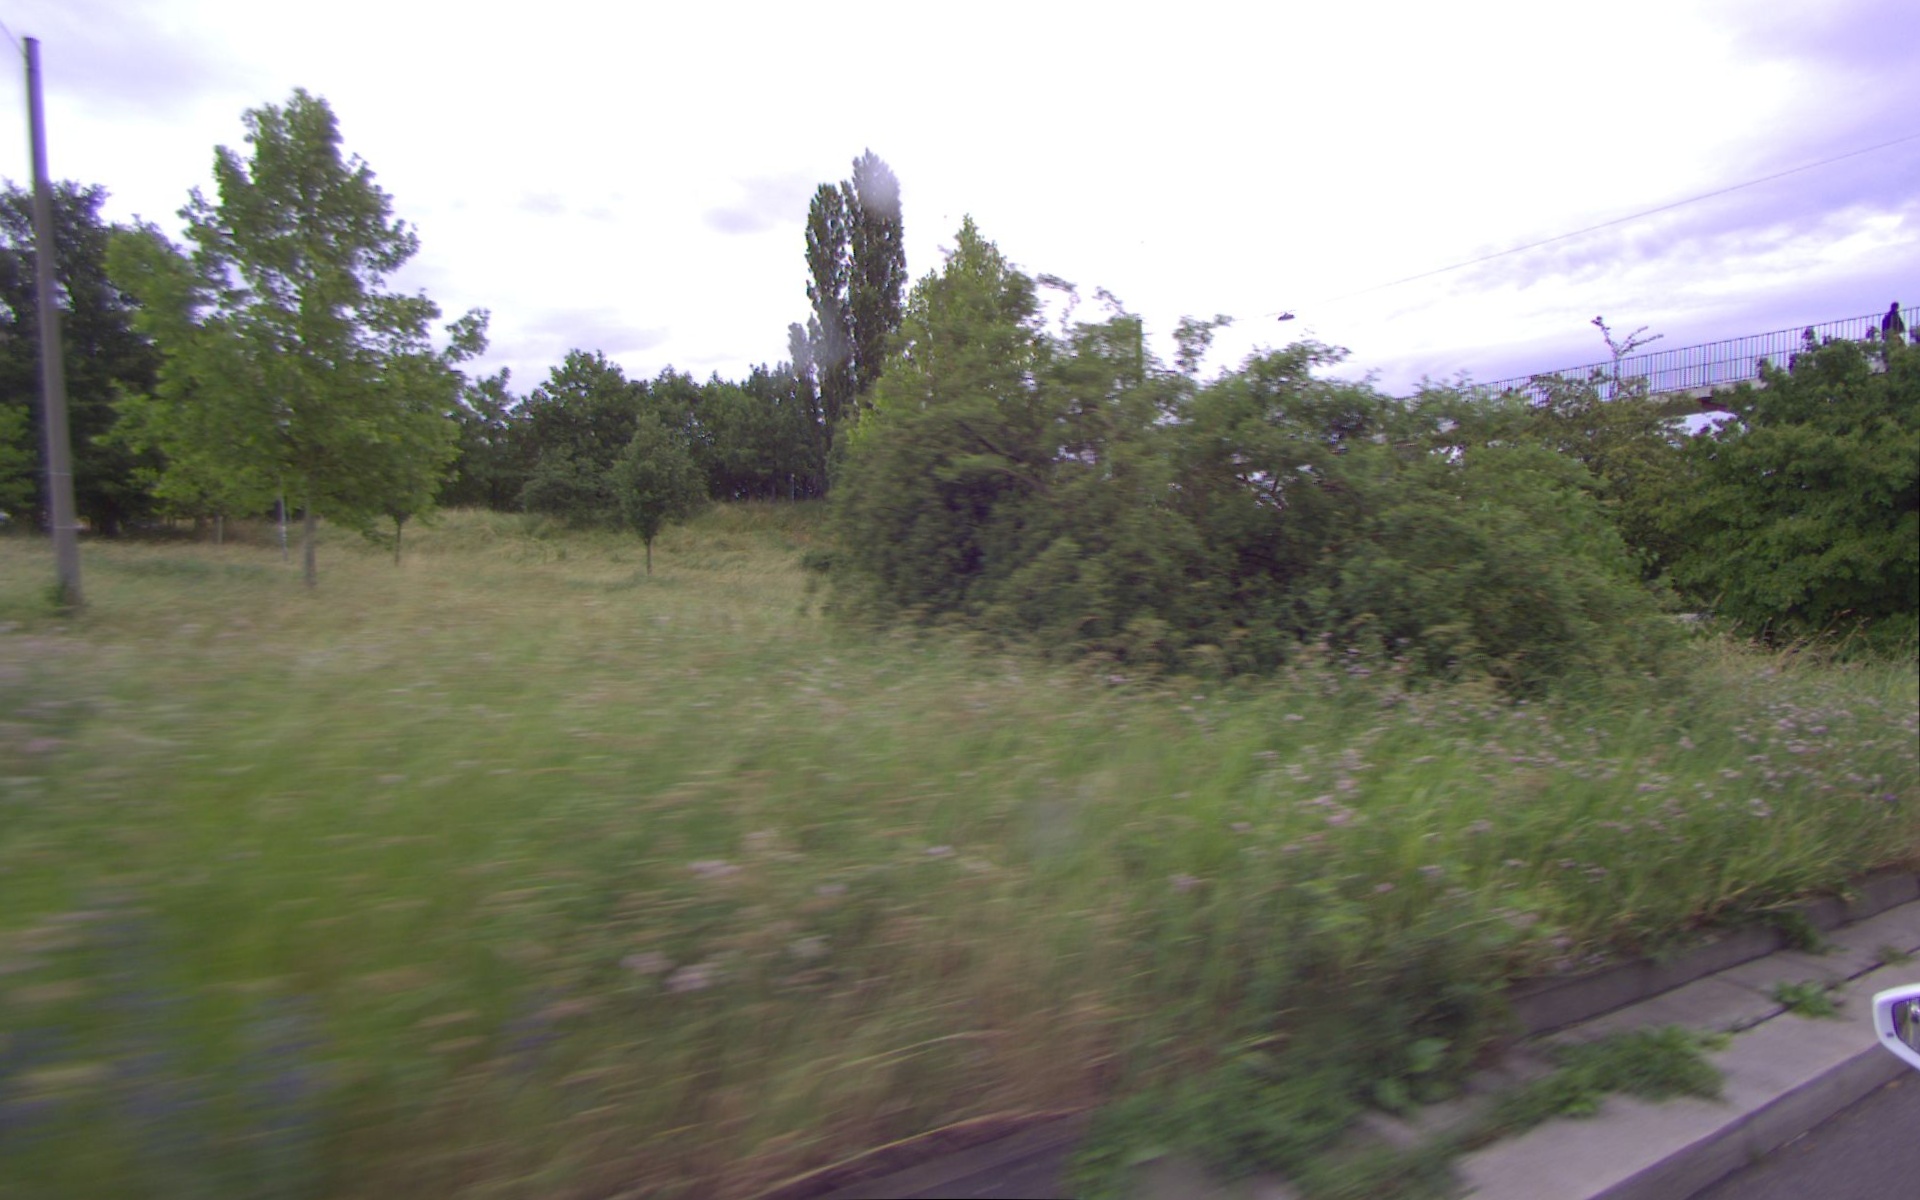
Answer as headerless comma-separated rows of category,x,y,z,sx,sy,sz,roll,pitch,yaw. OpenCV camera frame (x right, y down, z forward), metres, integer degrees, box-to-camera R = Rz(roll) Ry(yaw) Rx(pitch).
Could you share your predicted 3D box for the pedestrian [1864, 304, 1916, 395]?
pedestrian,25.485,-6.830,27.529,0.725,2.171,0.908,1,-2,-36
